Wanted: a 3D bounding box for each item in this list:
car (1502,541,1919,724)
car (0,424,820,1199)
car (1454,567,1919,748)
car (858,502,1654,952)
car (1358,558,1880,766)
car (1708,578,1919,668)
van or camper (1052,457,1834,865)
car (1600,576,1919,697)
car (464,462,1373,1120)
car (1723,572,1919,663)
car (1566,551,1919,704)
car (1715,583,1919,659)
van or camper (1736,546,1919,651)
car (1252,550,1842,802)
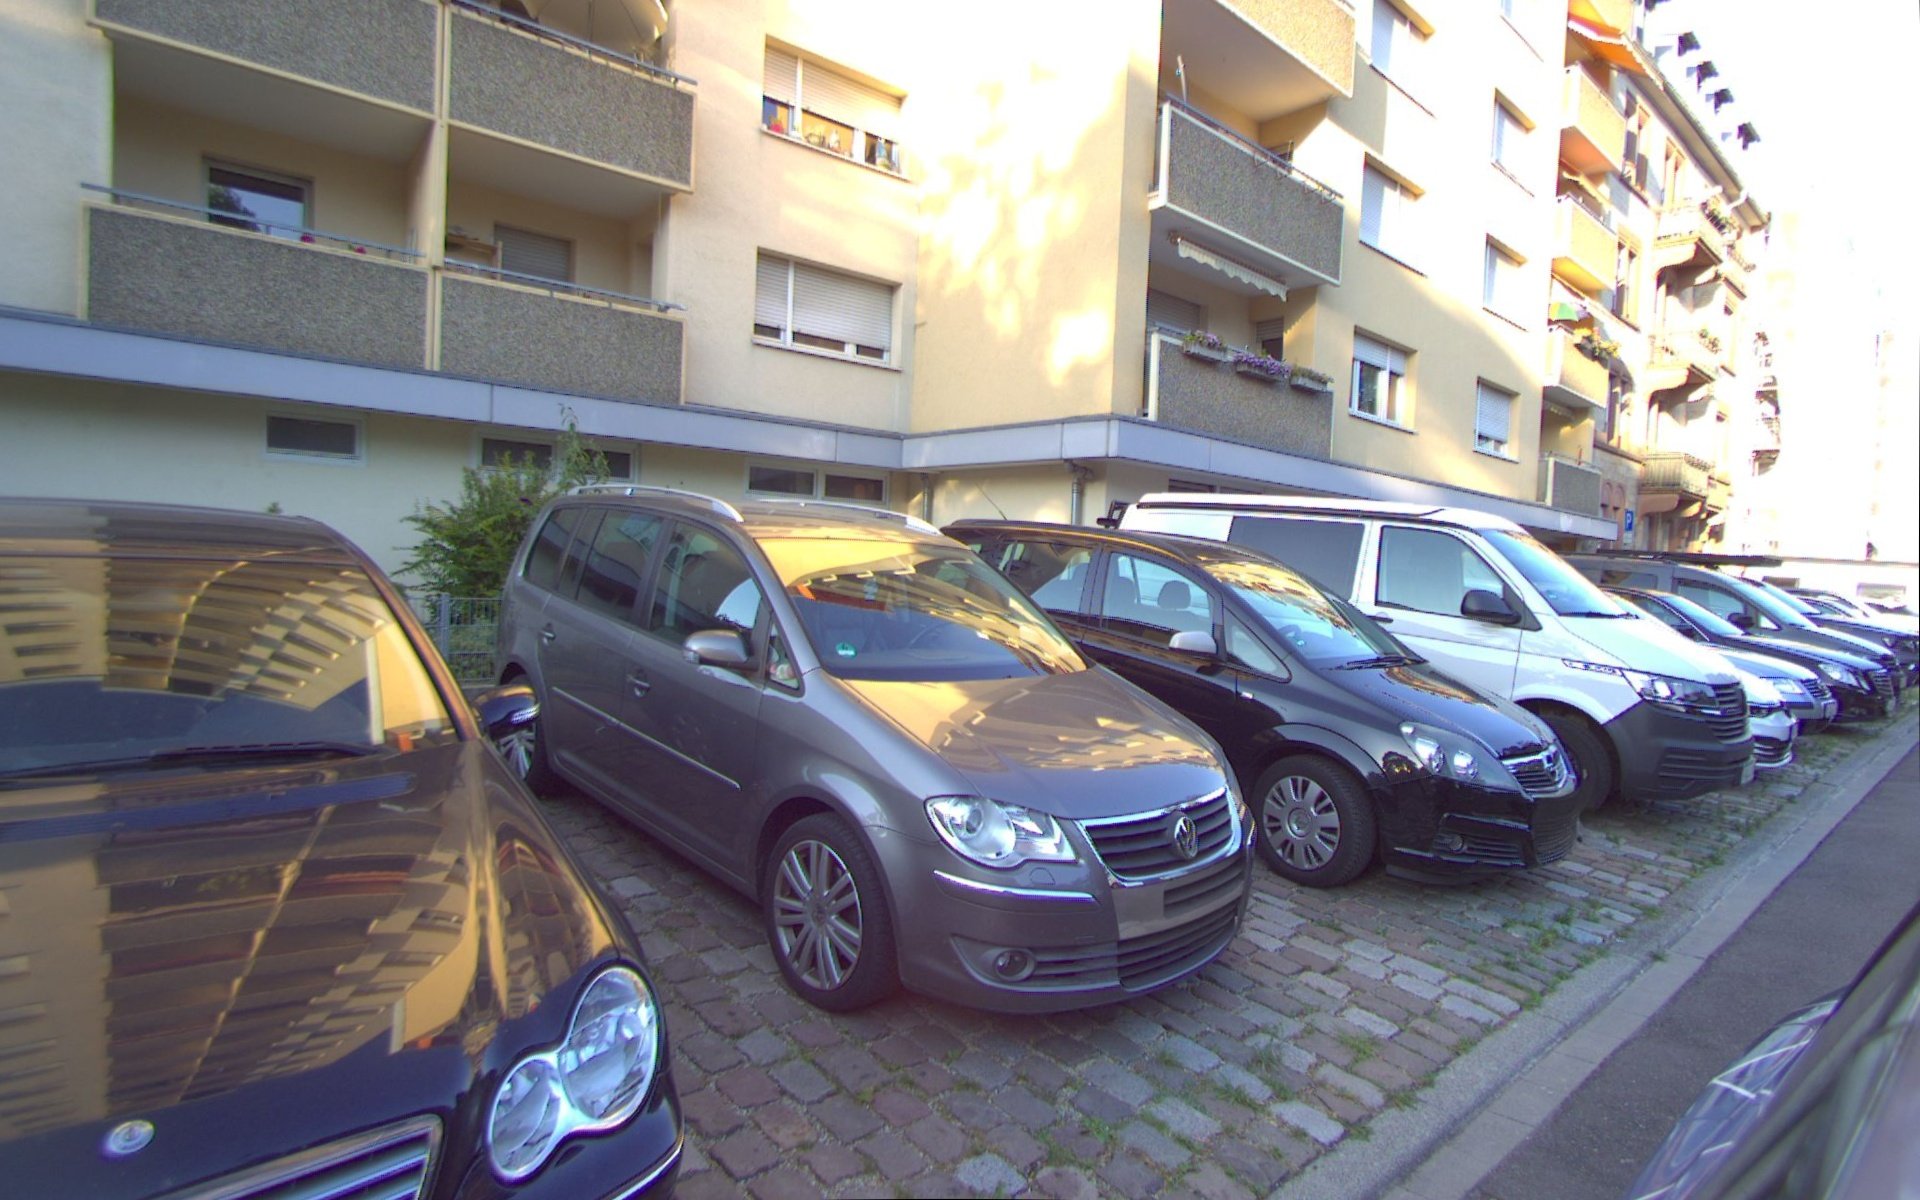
[{"bbox_3d":[10.505,0.260,14.250,1.814,2.004,4.647,-2,6,-41],"label":"car"},{"bbox_3d":[-2.443,0.394,2.942,1.815,1.549,4.411,-2,6,-43],"label":"car"},{"bbox_3d":[8.743,0.511,12.425,1.814,1.581,4.413,-2,6,-41],"label":"car"},{"bbox_3d":[1.409,0.336,6.203,1.752,1.680,4.334,-2,7,-43],"label":"car"},{"bbox_3d":[6.941,0.450,11.087,1.814,1.611,4.413,-2,6,-41],"label":"car"},{"bbox_3d":[19.148,0.446,21.893,1.813,1.572,4.415,-2,6,-40],"label":"car"},{"bbox_3d":[3.384,0.077,8.120,2.006,2.192,5.144,0,7,-43],"label":"van or camper"},{"bbox_3d":[14.055,0.502,17.710,1.813,1.572,4.416,-2,5,-39],"label":"car"},{"bbox_3d":[-0.662,0.256,4.782,1.815,1.680,4.412,-2,7,-43],"label":"car"},{"bbox_3d":[20.906,0.369,23.724,1.811,1.769,4.420,-1,5,-36],"label":"car"},{"bbox_3d":[12.300,0.305,15.729,1.814,1.885,4.522,0,4,-42],"label":"car"},{"bbox_3d":[22.288,0.464,25.924,1.813,1.638,4.414,-2,4,-40],"label":"car"},{"bbox_3d":[24.929,-0.019,27.173,2.014,2.534,6.074,1,4,-41],"label":"van or camper"},{"bbox_3d":[5.222,0.445,9.549,1.814,1.650,4.413,-2,6,-41],"label":"car"}]
